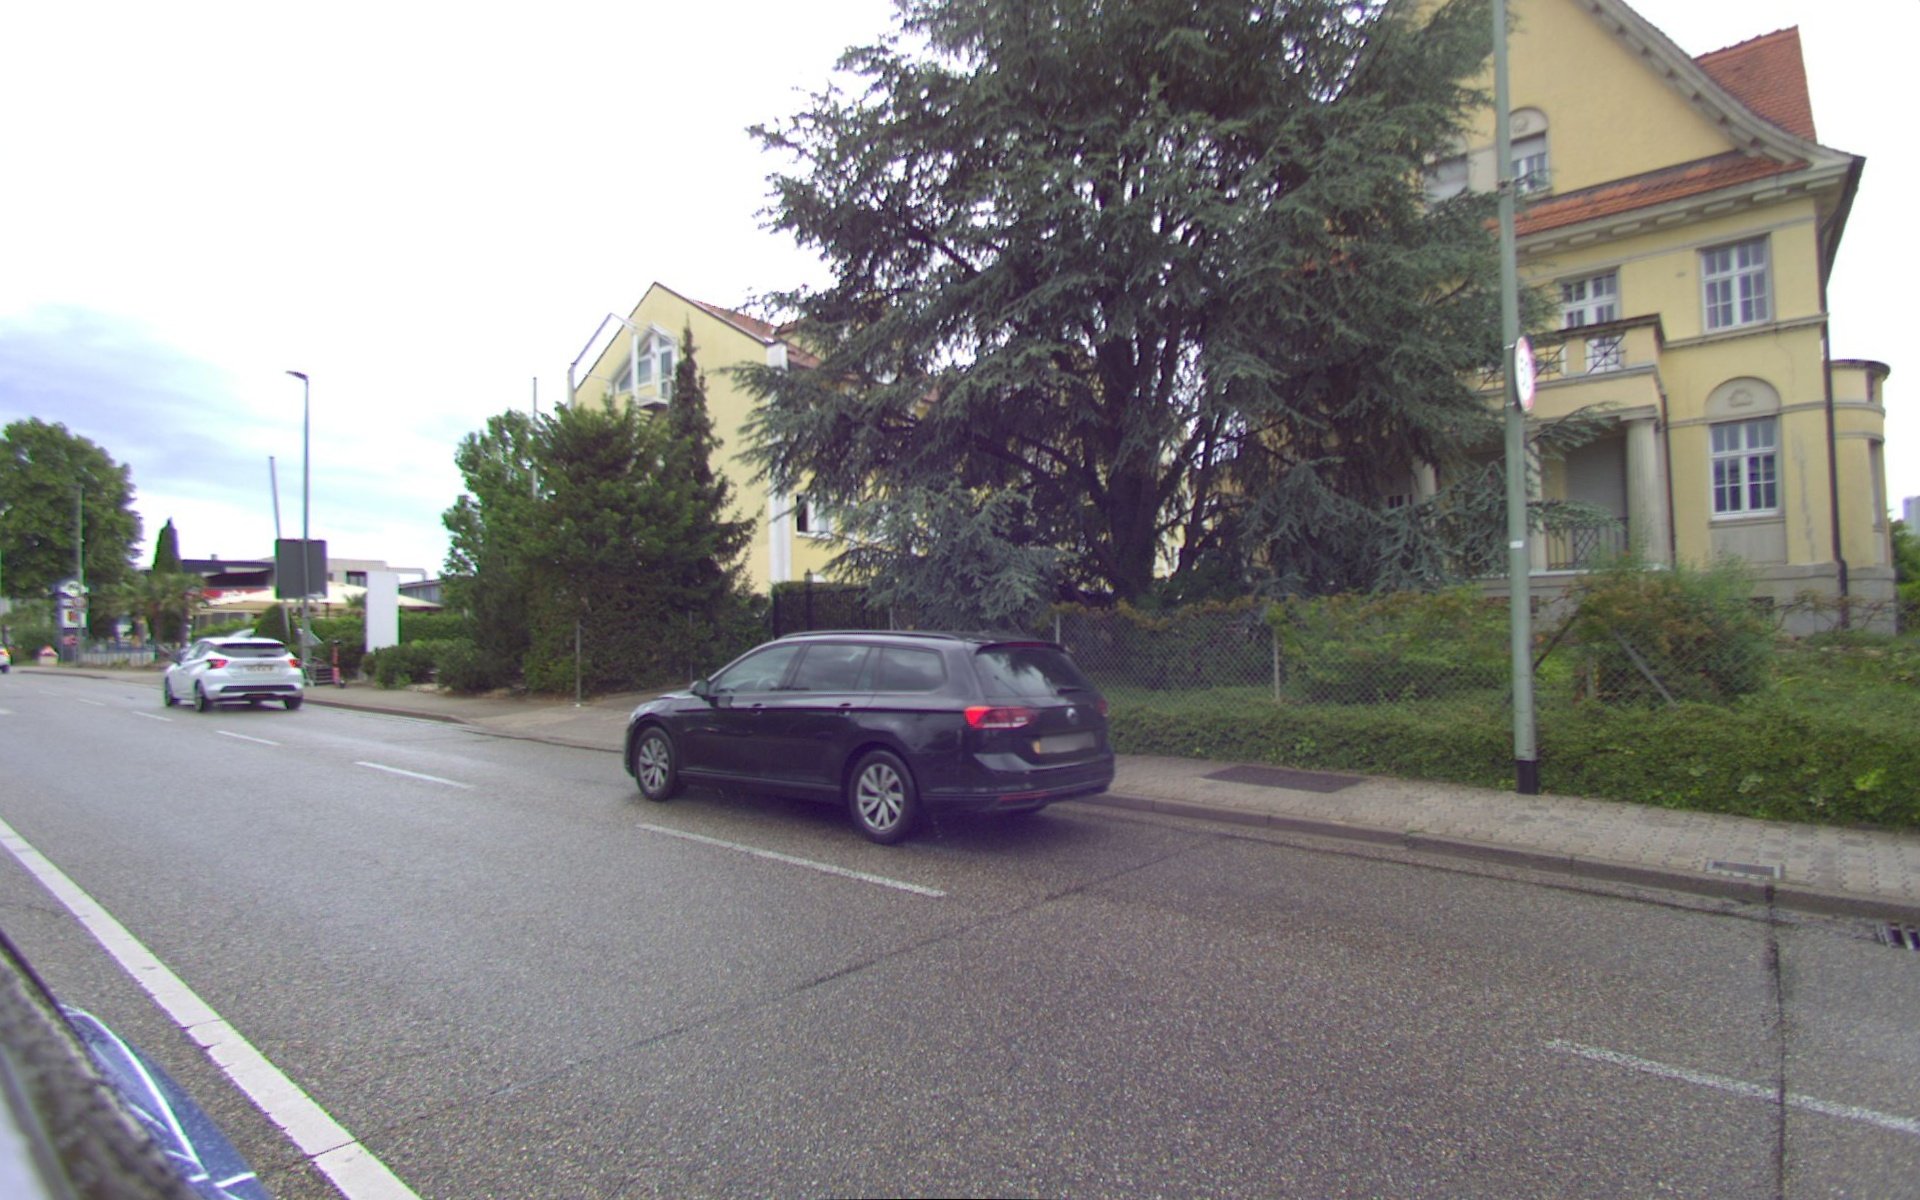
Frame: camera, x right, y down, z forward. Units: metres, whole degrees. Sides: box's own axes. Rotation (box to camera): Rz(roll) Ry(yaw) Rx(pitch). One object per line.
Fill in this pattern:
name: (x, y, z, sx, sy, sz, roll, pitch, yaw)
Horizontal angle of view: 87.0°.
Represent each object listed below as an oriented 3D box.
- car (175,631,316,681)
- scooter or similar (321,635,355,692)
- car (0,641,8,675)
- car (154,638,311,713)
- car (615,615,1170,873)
car: (-25.417, 1.954, 36.072, 3.876, 1.664, 1.720, 1, -2, -44)
scooter or similar: (-16.054, 1.611, 26.094, 0.498, 1.416, 1.884, 1, -2, -39)
car: (-43.961, 2.556, 44.853, 4.303, 1.465, 1.949, -2, -3, 38)
car: (-15.083, 1.501, 20.929, 3.799, 1.408, 1.728, -2, -3, 40)
car: (-0.740, 0.911, 8.087, 4.468, 1.513, 1.758, -1, -3, 40)
